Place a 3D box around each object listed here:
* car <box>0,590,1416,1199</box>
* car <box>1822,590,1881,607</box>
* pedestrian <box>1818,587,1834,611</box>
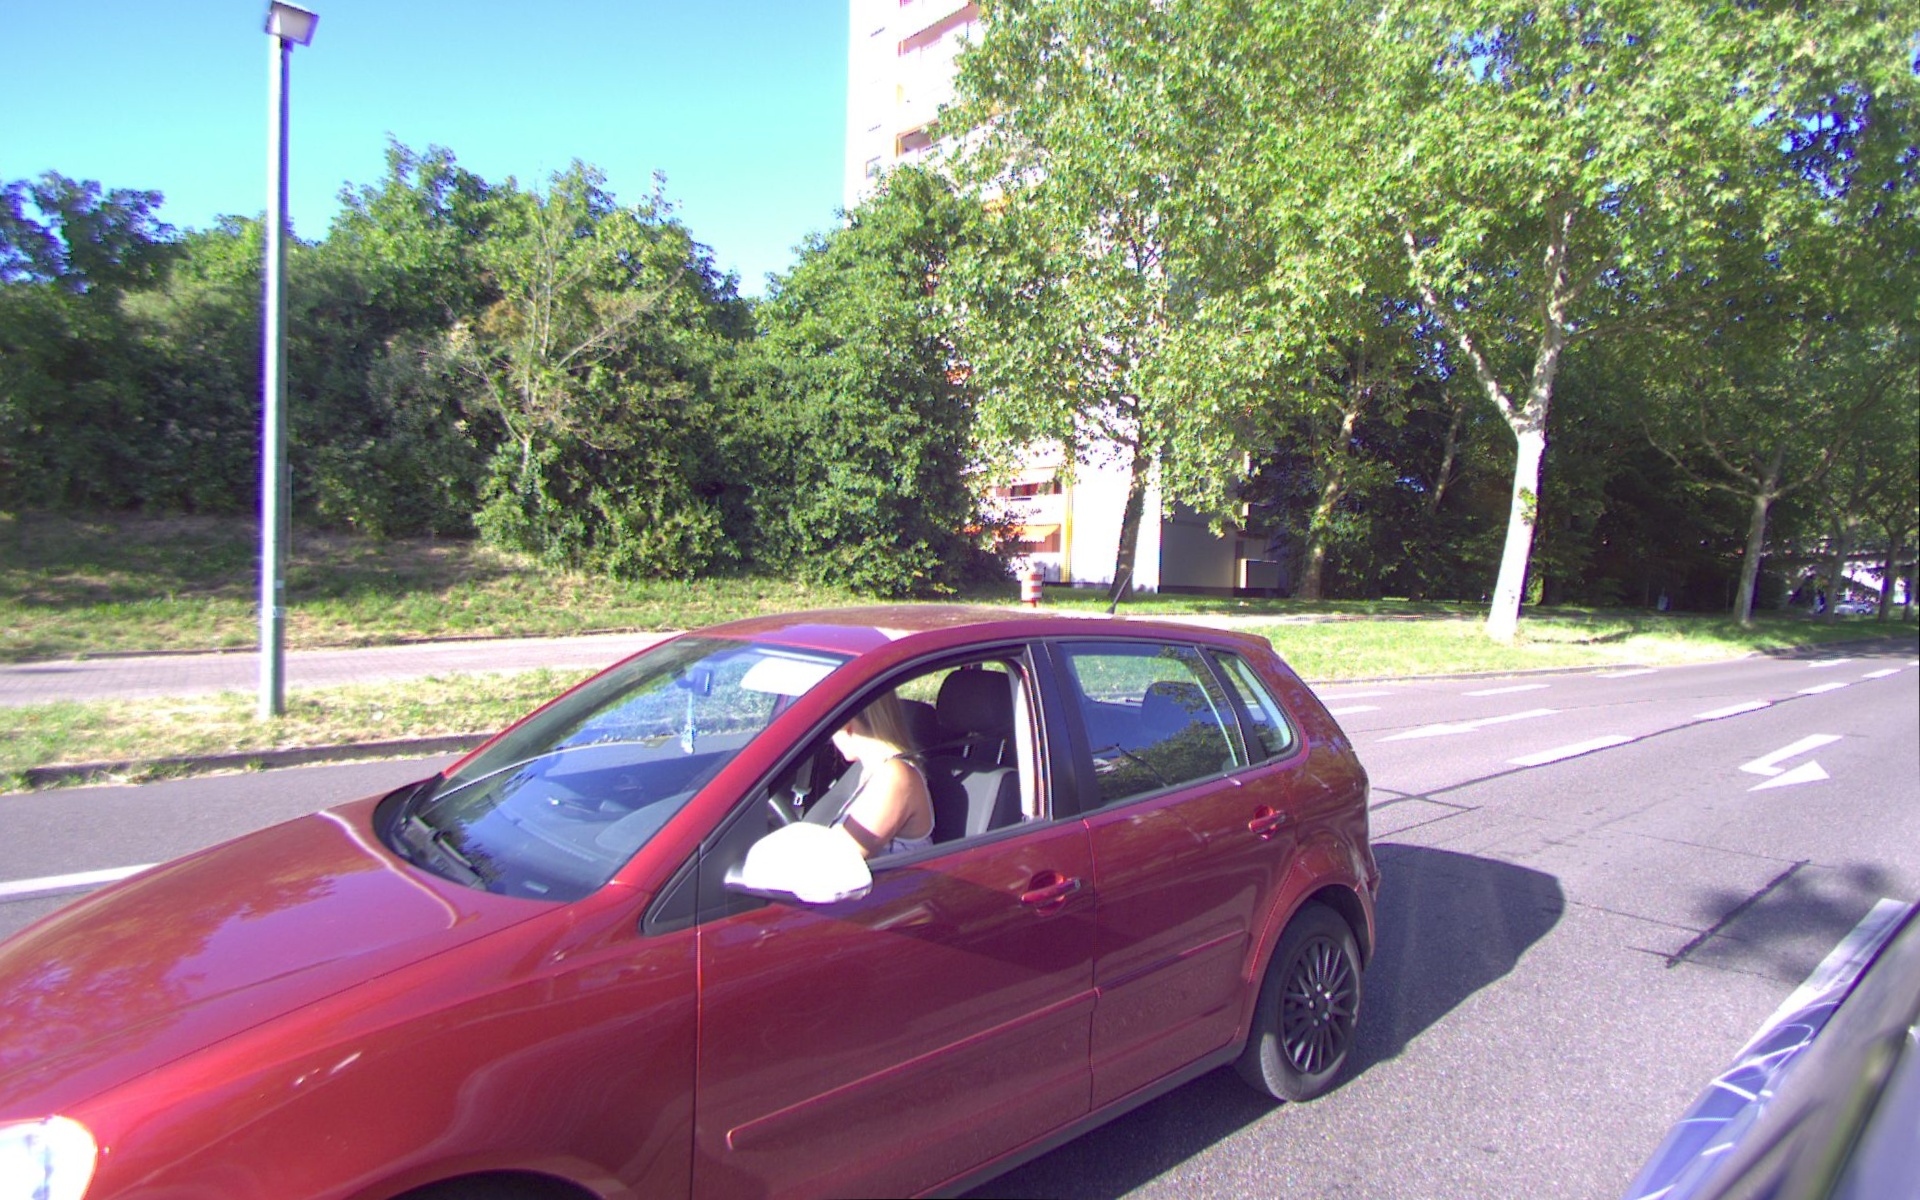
[{"bbox_3d":[-0.438,0.711,2.789,3.694,1.456,1.645,-1,1,-40],"label":"car"},{"bbox_3d":[80.762,-0.133,91.713,3.983,1.493,1.772,0,0,42],"label":"car"},{"bbox_3d":[73.749,-0.122,86.190,0.945,2.039,0.918,0,0,-40],"label":"pedestrian"}]
